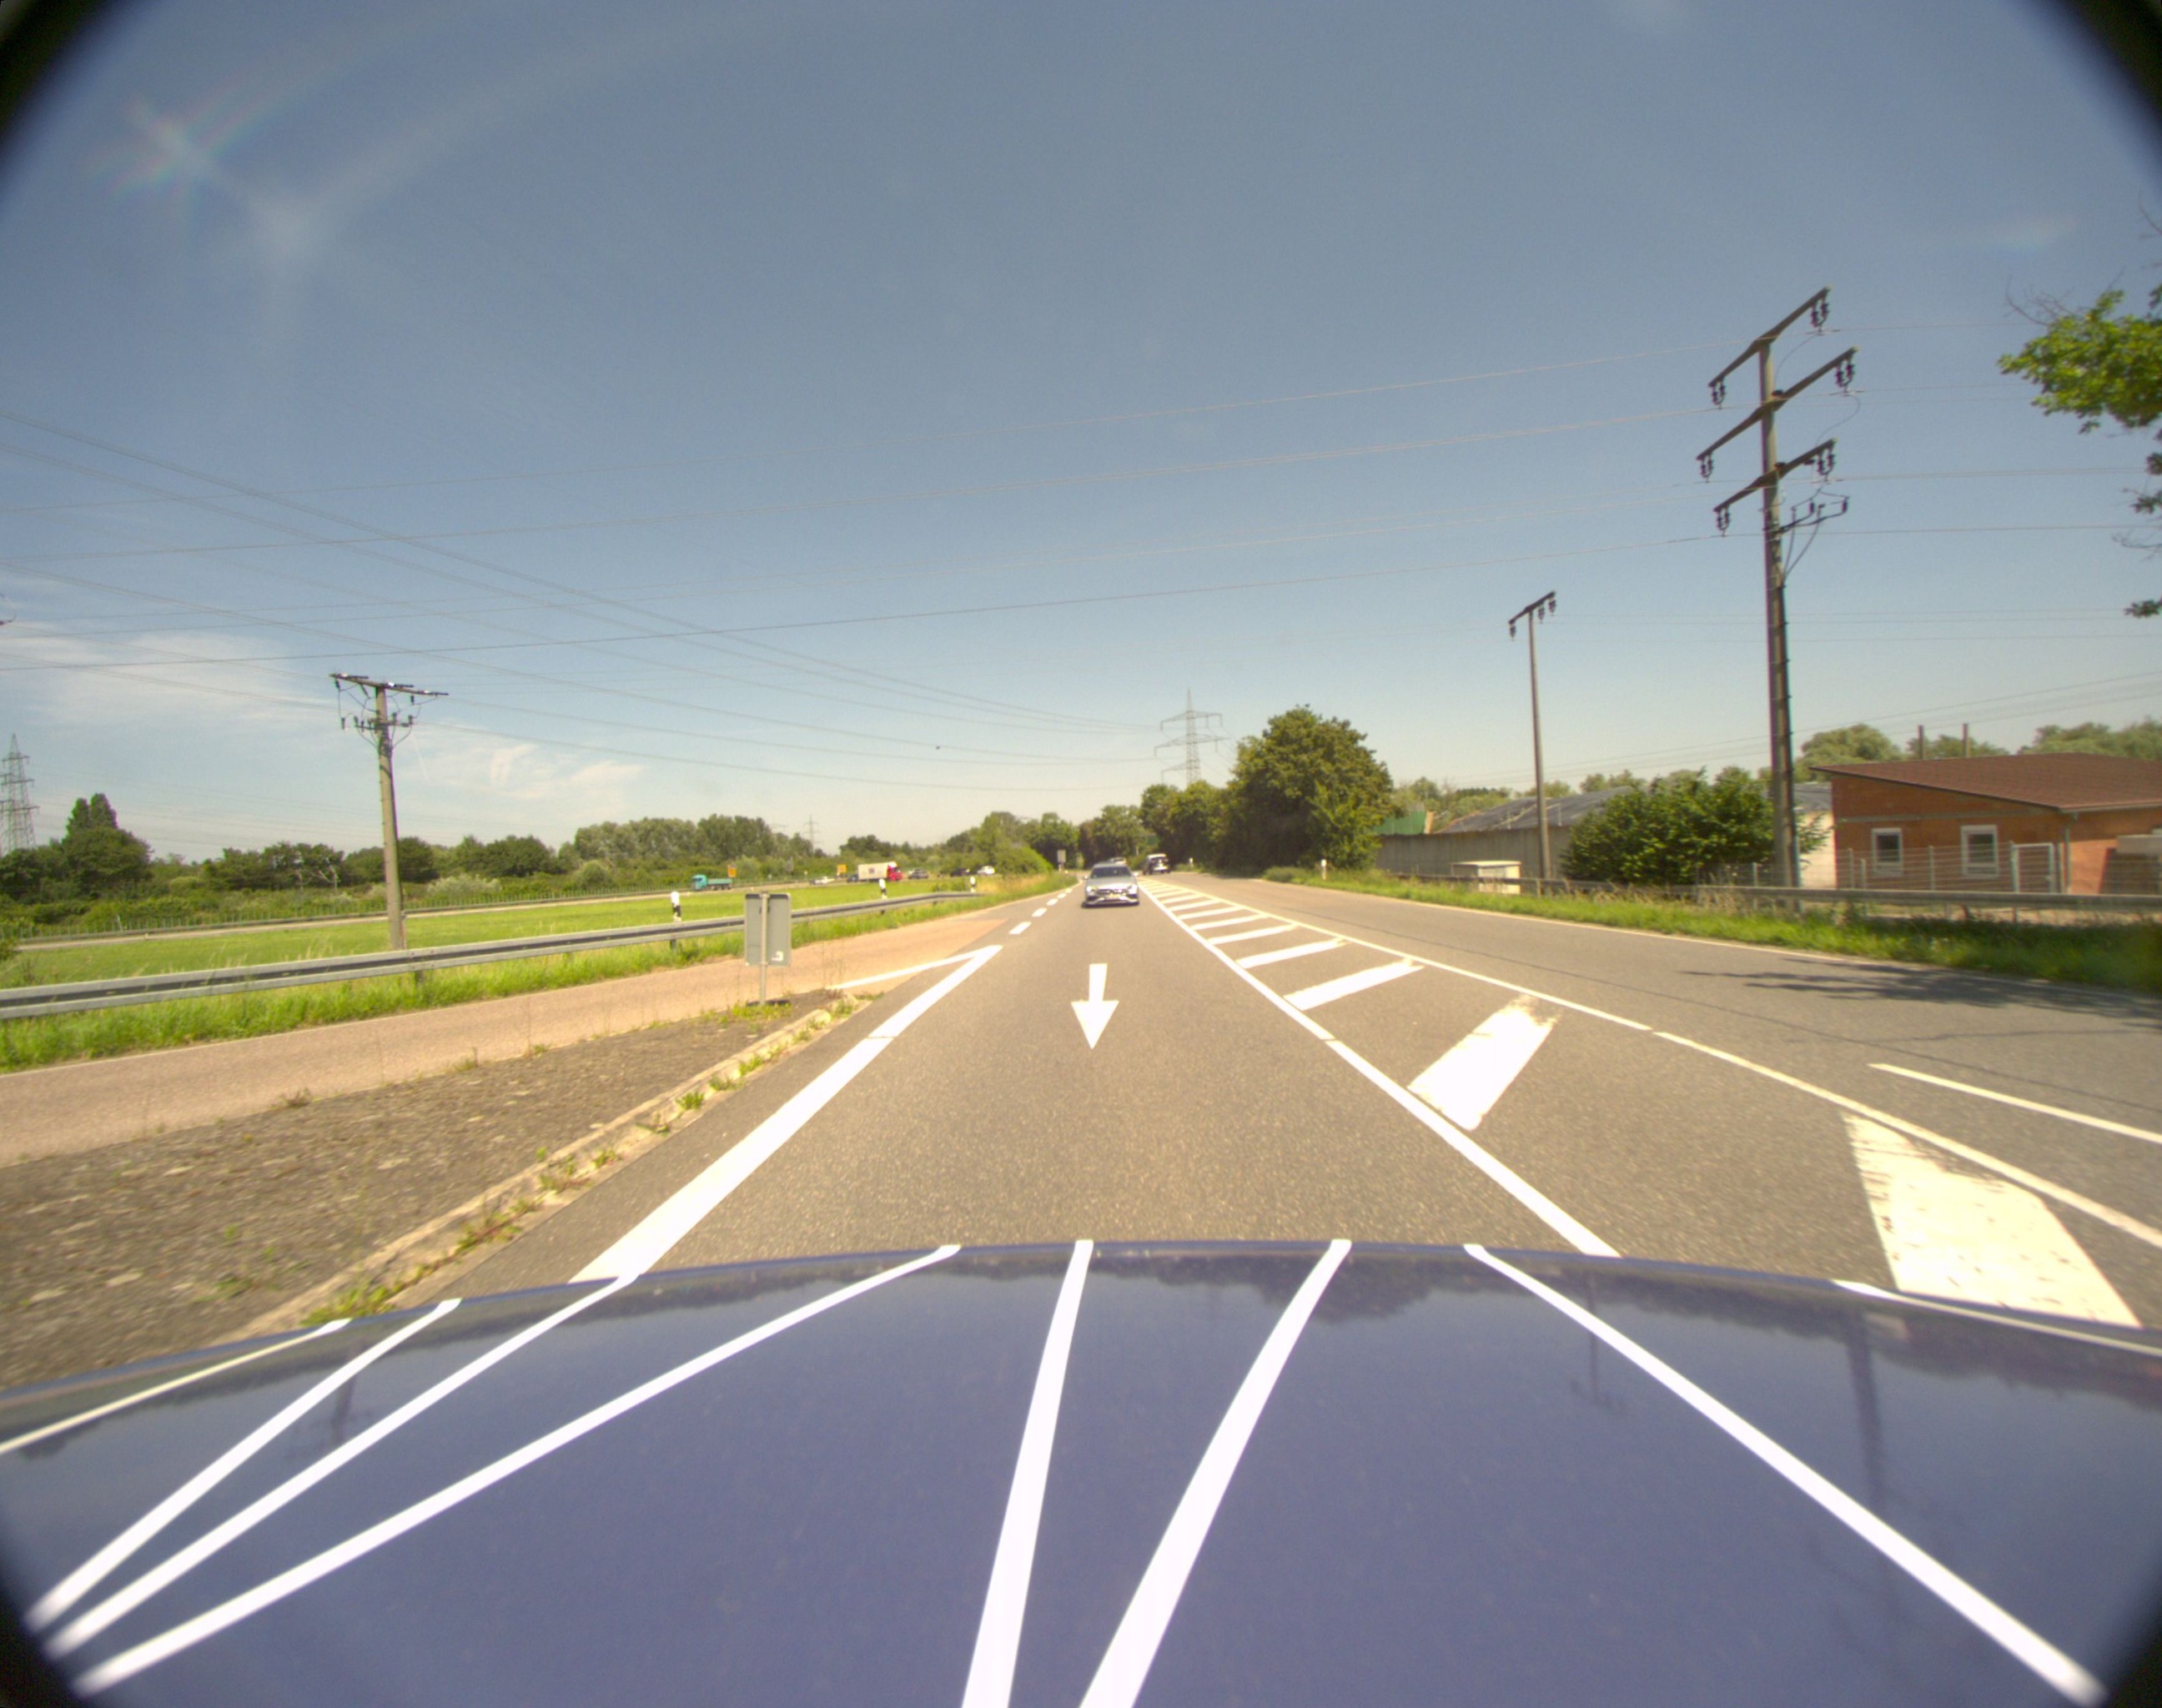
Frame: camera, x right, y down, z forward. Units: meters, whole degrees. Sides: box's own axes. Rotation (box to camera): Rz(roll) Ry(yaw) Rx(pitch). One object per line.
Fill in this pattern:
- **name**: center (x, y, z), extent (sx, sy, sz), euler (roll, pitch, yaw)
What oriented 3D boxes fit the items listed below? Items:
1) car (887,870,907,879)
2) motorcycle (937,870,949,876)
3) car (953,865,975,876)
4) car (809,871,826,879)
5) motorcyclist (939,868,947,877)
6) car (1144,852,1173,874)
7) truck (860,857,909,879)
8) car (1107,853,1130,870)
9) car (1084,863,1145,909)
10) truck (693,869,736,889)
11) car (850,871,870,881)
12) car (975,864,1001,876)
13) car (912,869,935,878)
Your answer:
- **car**: center (-36.422, 4.080, 150.373), extent (1.808, 1.507, 4.380), euler (-4, 1, -45)
- **motorcycle**: center (-25.179, 3.474, 138.594), extent (0.785, 1.117, 2.423), euler (-7, 3, -45)
- **car**: center (-20.747, 2.963, 134.284), extent (1.710, 1.629, 4.238), euler (-7, 2, -41)
- **car**: center (-58.276, 4.631, 168.201), extent (3.998, 1.451, 1.640), euler (-4, 1, 41)
- **motorcyclist**: center (-25.224, 3.336, 138.595), extent (0.784, 1.487, 1.128), euler (-6, 2, -45)
- **car**: center (6.225, 0.675, 61.132), extent (1.737, 1.581, 3.957), euler (-4, 0, -2)
- **truck**: center (-36.909, 2.692, 142.377), extent (9.531, 3.560, 2.729), euler (-3, 3, 31)
- **car**: center (3.975, 0.819, 80.281), extent (1.746, 1.580, 3.998), euler (-5, 0, -6)
- **car**: center (1.260, 1.068, 26.878), extent (1.823, 1.478, 4.151), euler (-1, -1, 7)
- **truck**: center (-77.446, 5.249, 160.794), extent (2.603, 3.451, 7.623), euler (-4, 0, 43)
- **car**: center (-46.033, 4.554, 158.312), extent (4.427, 1.822, 1.935), euler (-3, 2, 43)
- **car**: center (-15.665, 2.714, 127.642), extent (1.864, 1.592, 4.766), euler (-7, 1, -39)
- **car**: center (-29.921, 3.672, 144.071), extent (1.850, 1.452, 4.796), euler (-6, 2, -45)
